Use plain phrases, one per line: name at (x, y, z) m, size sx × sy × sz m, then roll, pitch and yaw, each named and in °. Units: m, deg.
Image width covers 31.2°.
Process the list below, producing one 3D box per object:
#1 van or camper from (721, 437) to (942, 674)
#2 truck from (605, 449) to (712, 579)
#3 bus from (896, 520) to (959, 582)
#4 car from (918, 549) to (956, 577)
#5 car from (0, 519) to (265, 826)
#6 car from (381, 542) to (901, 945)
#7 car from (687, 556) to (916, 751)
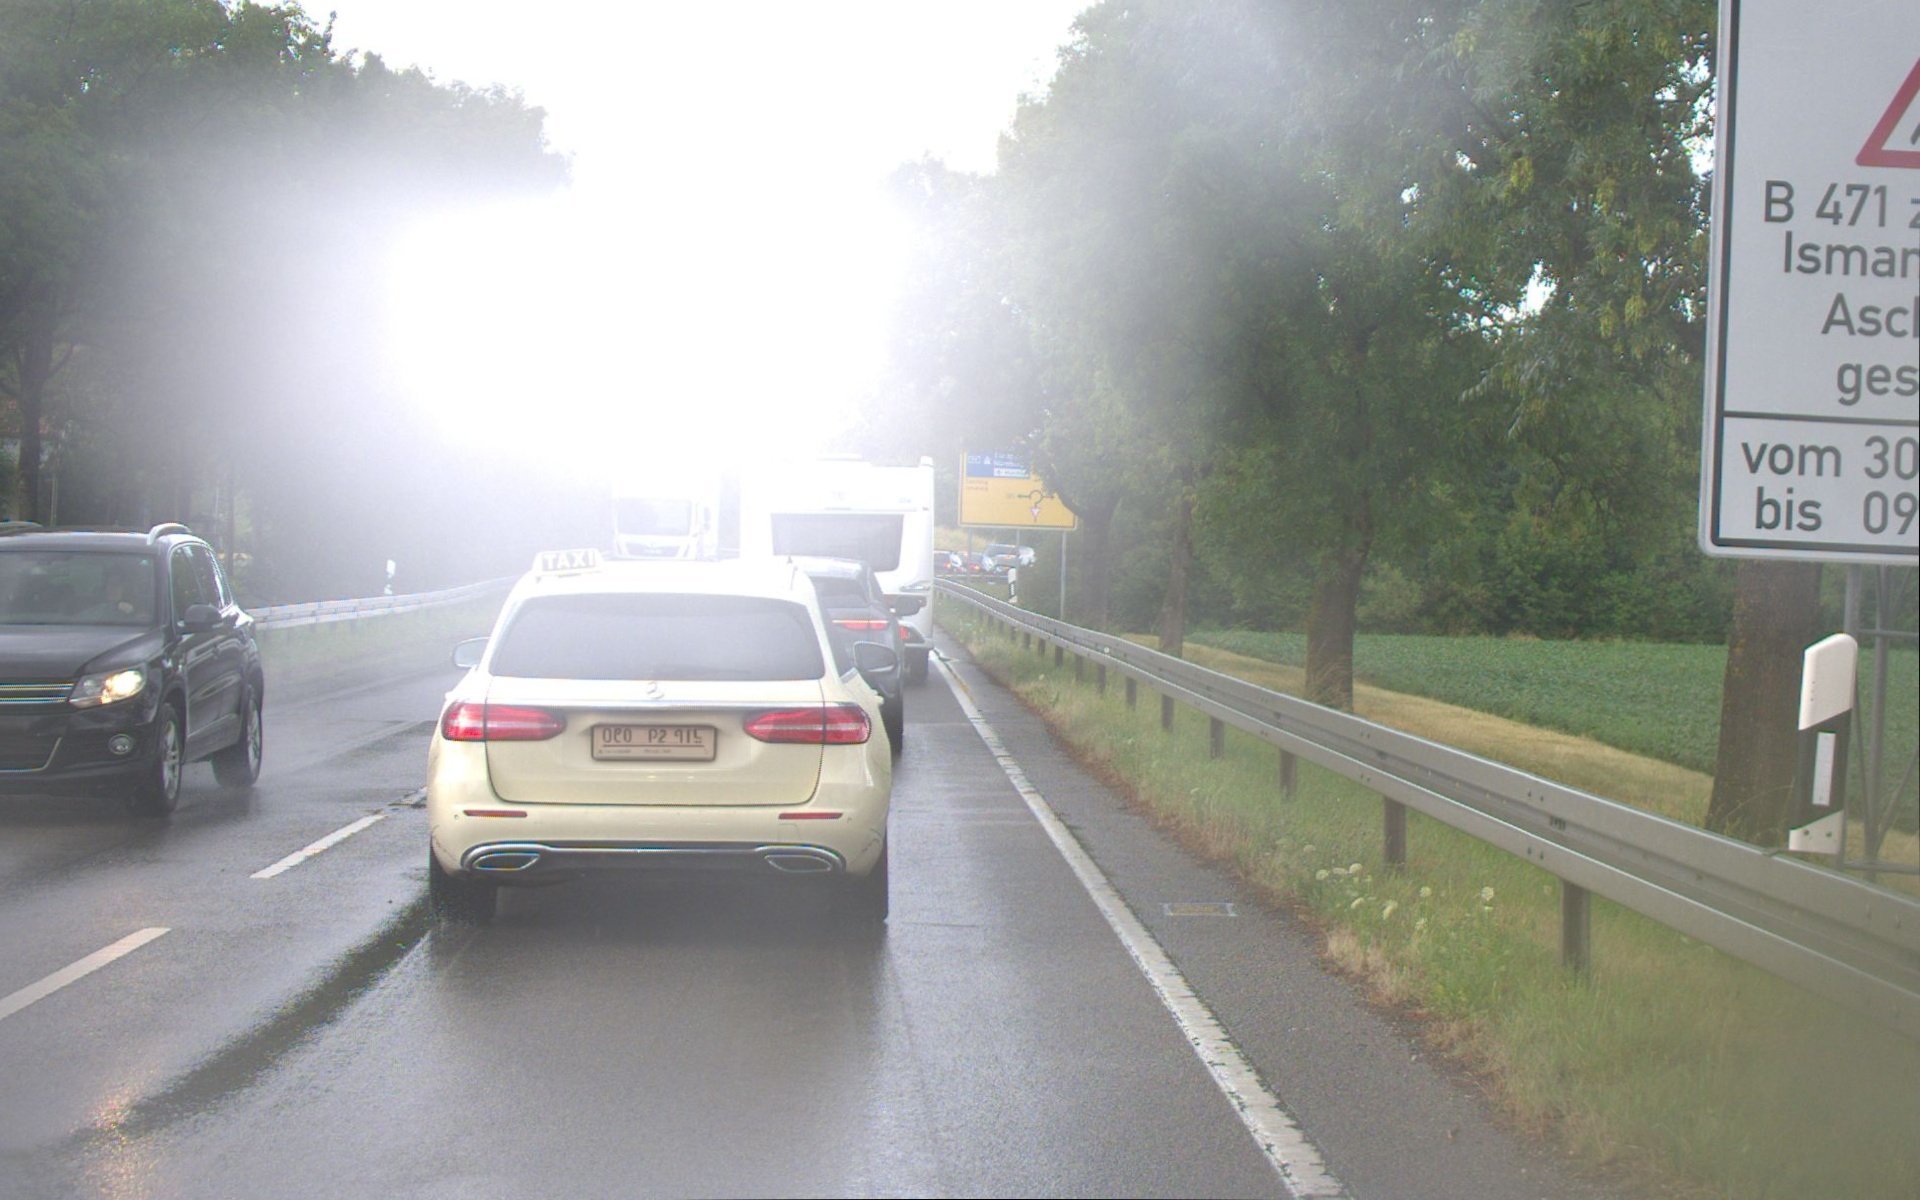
van or camper at (-1.500, -0.554, 42.359) m, size 2.489 × 2.676 × 5.700 m, roll 1°, pitch 1°, yaw 0°
truck at (-8.318, -2.361, 95.708) m, size 2.576 × 3.440 × 9.557 m, roll 0°, pitch 1°, yaw -3°
bus at (-1.080, -1.633, 113.514) m, size 1.993 × 2.007 × 4.000 m, roll 0°, pitch 1°, yaw -2°
car at (-0.985, -1.554, 144.790) m, size 1.551 × 1.114 × 4.000 m, roll 1°, pitch 0°, yaw -1°
car at (-5.282, 0.346, 20.079) m, size 1.764 × 1.614 × 4.001 m, roll 0°, pitch 1°, yaw -2°
car at (-1.207, 0.498, 14.649) m, size 1.865 × 1.471 × 4.000 m, roll 0°, pitch 1°, yaw 0°
car at (-1.203, 0.372, 27.497) m, size 1.664 × 1.426 × 4.000 m, roll 0°, pitch 1°, yaw 0°
